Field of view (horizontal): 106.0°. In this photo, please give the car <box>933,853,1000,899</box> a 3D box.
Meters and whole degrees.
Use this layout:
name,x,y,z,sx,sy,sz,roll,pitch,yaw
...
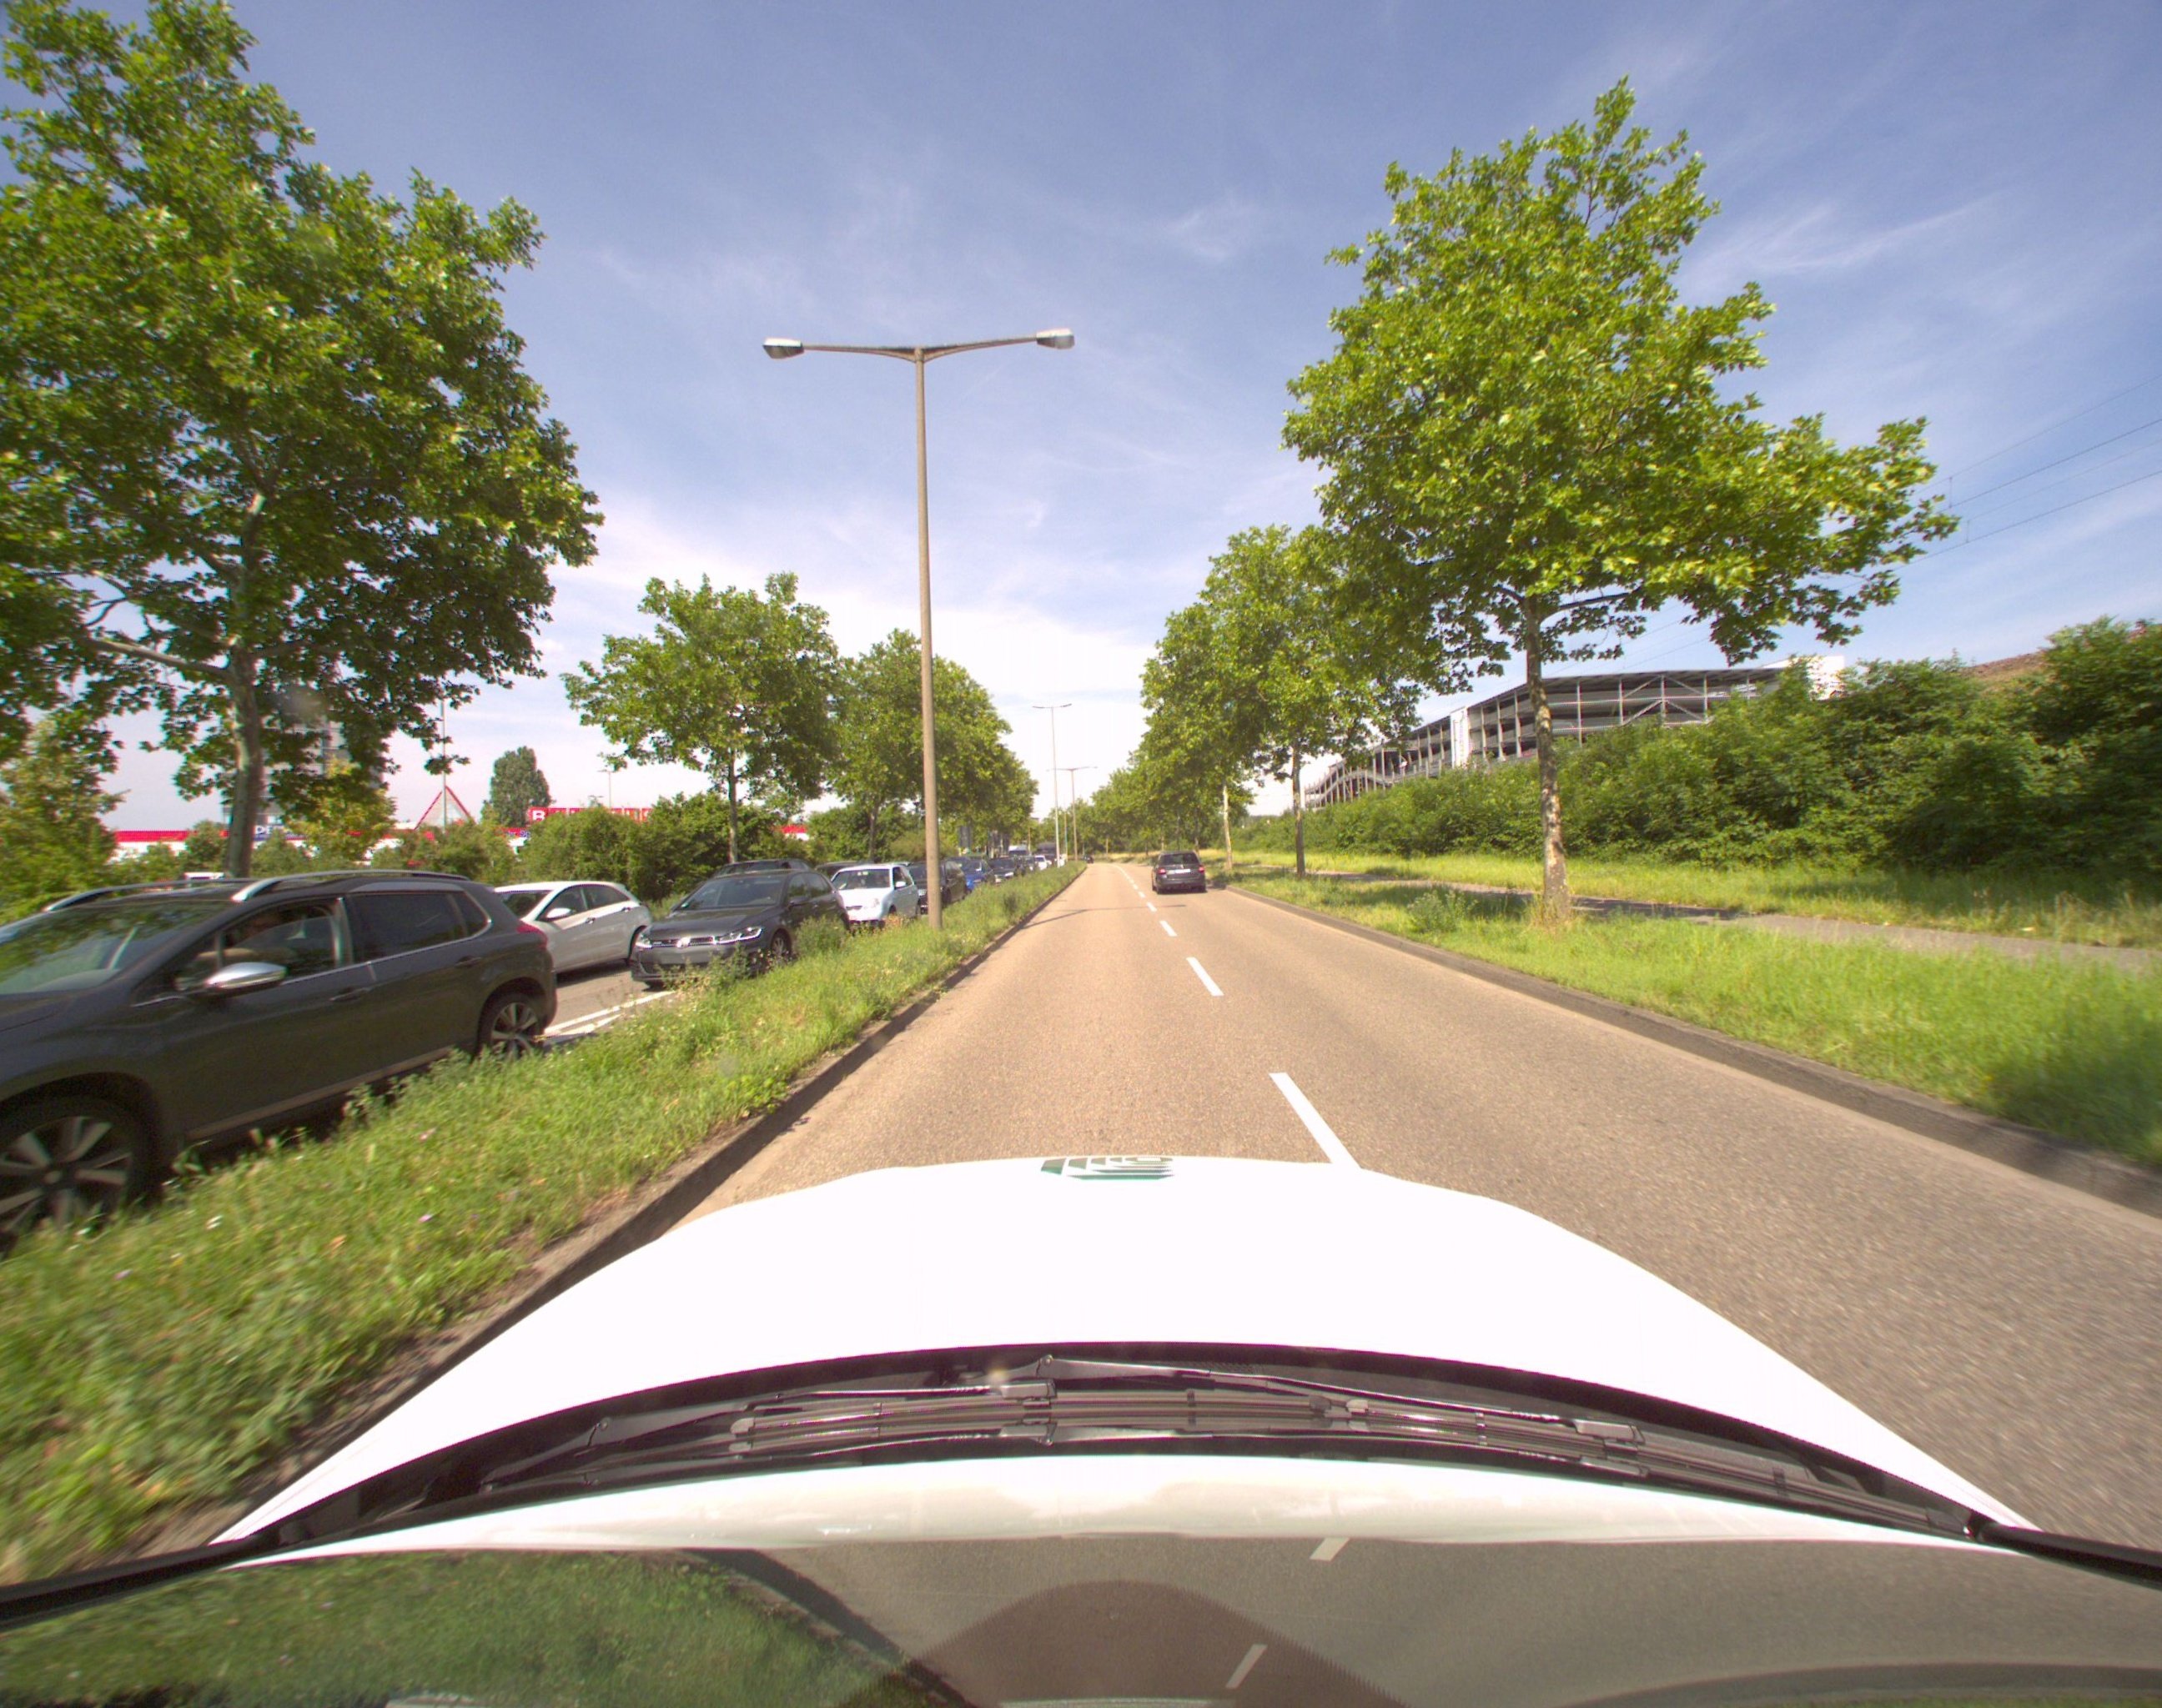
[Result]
name,x,y,z,sx,sy,sz,roll,pitch,yaw
car,-4.206,0.780,30.523,1.778,1.489,4.211,-3,0,1

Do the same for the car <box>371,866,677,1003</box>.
name,x,y,z,sx,sy,sz,roll,pitch,yaw
car,-8.051,1.046,12.336,1.683,1.530,4.084,-4,0,1

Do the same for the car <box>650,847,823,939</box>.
name,x,y,z,sx,sy,sz,roll,pitch,yaw
car,-7.588,0.799,18.532,1.815,1.737,4.768,-3,-1,0

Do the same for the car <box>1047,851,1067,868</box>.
name,x,y,z,sx,sy,sz,roll,pitch,yaw
car,-2.383,0.533,80.716,1.682,1.530,3.816,-3,0,2

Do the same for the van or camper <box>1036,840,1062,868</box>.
name,x,y,z,sx,sy,sz,roll,pitch,yaw
van or camper,-2.826,0.034,73.210,1.932,2.368,5.398,-3,0,0

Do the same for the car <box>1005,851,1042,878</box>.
name,x,y,z,sx,sy,sz,roll,pitch,yaw
car,-3.589,0.629,51.560,1.806,1.530,4.644,-3,0,2

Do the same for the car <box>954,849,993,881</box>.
name,x,y,z,sx,sy,sz,roll,pitch,yaw
car,-6.723,0.682,51.380,1.682,1.858,4.038,-3,0,2

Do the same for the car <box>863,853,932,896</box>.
name,x,y,z,sx,sy,sz,roll,pitch,yaw
car,-7.313,0.766,32.779,1.682,1.530,3.941,-3,0,2

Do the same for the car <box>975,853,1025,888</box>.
name,x,y,z,sx,sy,sz,roll,pitch,yaw
car,-3.744,0.723,38.413,1.817,1.465,4.450,-3,0,1

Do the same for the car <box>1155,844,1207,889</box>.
name,x,y,z,sx,sy,sz,roll,pitch,yaw
car,3.514,0.401,28.712,1.665,1.453,4.043,0,0,6

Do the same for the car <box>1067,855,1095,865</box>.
name,x,y,z,sx,sy,sz,roll,pitch,yaw
car,-0.015,0.912,130.920,1.925,1.463,4.565,-3,2,-43

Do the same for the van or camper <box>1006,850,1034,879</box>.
name,x,y,z,sx,sy,sz,roll,pitch,yaw
van or camper,-5.858,0.966,78.844,2.007,2.587,5.519,-3,0,2

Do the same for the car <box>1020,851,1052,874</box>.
name,x,y,z,sx,sy,sz,roll,pitch,yaw
car,-3.129,0.599,57.621,1.777,1.459,4.474,-3,0,2

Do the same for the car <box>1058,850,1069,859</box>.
name,x,y,z,sx,sy,sz,roll,pitch,yaw
car,-3.444,0.061,160.989,1.903,1.463,4.579,-3,-1,-1

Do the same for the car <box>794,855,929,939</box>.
name,x,y,z,sx,sy,sz,roll,pitch,yaw
car,-4.552,0.829,17.471,1.682,1.471,3.816,-3,0,2

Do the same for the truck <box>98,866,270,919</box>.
name,x,y,z,sx,sy,sz,roll,pitch,yaw
truck,-41.518,1.723,37.937,5.256,2.128,1.975,-2,0,-45

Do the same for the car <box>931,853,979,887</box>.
name,x,y,z,sx,sy,sz,roll,pitch,yaw
car,-6.788,0.826,44.207,1.682,1.631,4.313,-3,0,2

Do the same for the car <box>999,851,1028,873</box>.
name,x,y,z,sx,sy,sz,roll,pitch,yaw
car,-5.889,0.654,71.518,1.986,1.755,4.001,-3,0,1

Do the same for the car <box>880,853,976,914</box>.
name,x,y,z,sx,sy,sz,roll,pitch,yaw
car,-4.474,0.787,24.564,1.751,1.530,4.830,-3,0,2

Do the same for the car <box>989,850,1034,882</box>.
name,x,y,z,sx,sy,sz,roll,pitch,yaw
car,-3.802,0.614,45.191,1.840,1.607,5.010,-3,0,2

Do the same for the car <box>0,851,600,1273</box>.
name,x,y,z,sx,sy,sz,roll,pitch,yaw
car,-4.944,0.833,4.649,1.682,1.586,4.242,-3,0,2

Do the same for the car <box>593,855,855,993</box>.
name,x,y,z,sx,sy,sz,roll,pitch,yaw
car,-4.765,0.826,11.648,1.682,1.473,4.220,-4,0,2

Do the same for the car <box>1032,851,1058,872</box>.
name,x,y,z,sx,sy,sz,roll,pitch,yaw
car,-2.806,0.537,64.046,1.682,1.510,3.816,-3,0,2

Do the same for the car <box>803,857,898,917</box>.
name,x,y,z,sx,sy,sz,roll,pitch,yaw
car,-7.333,0.994,26.324,1.682,1.646,4.180,-3,0,2
